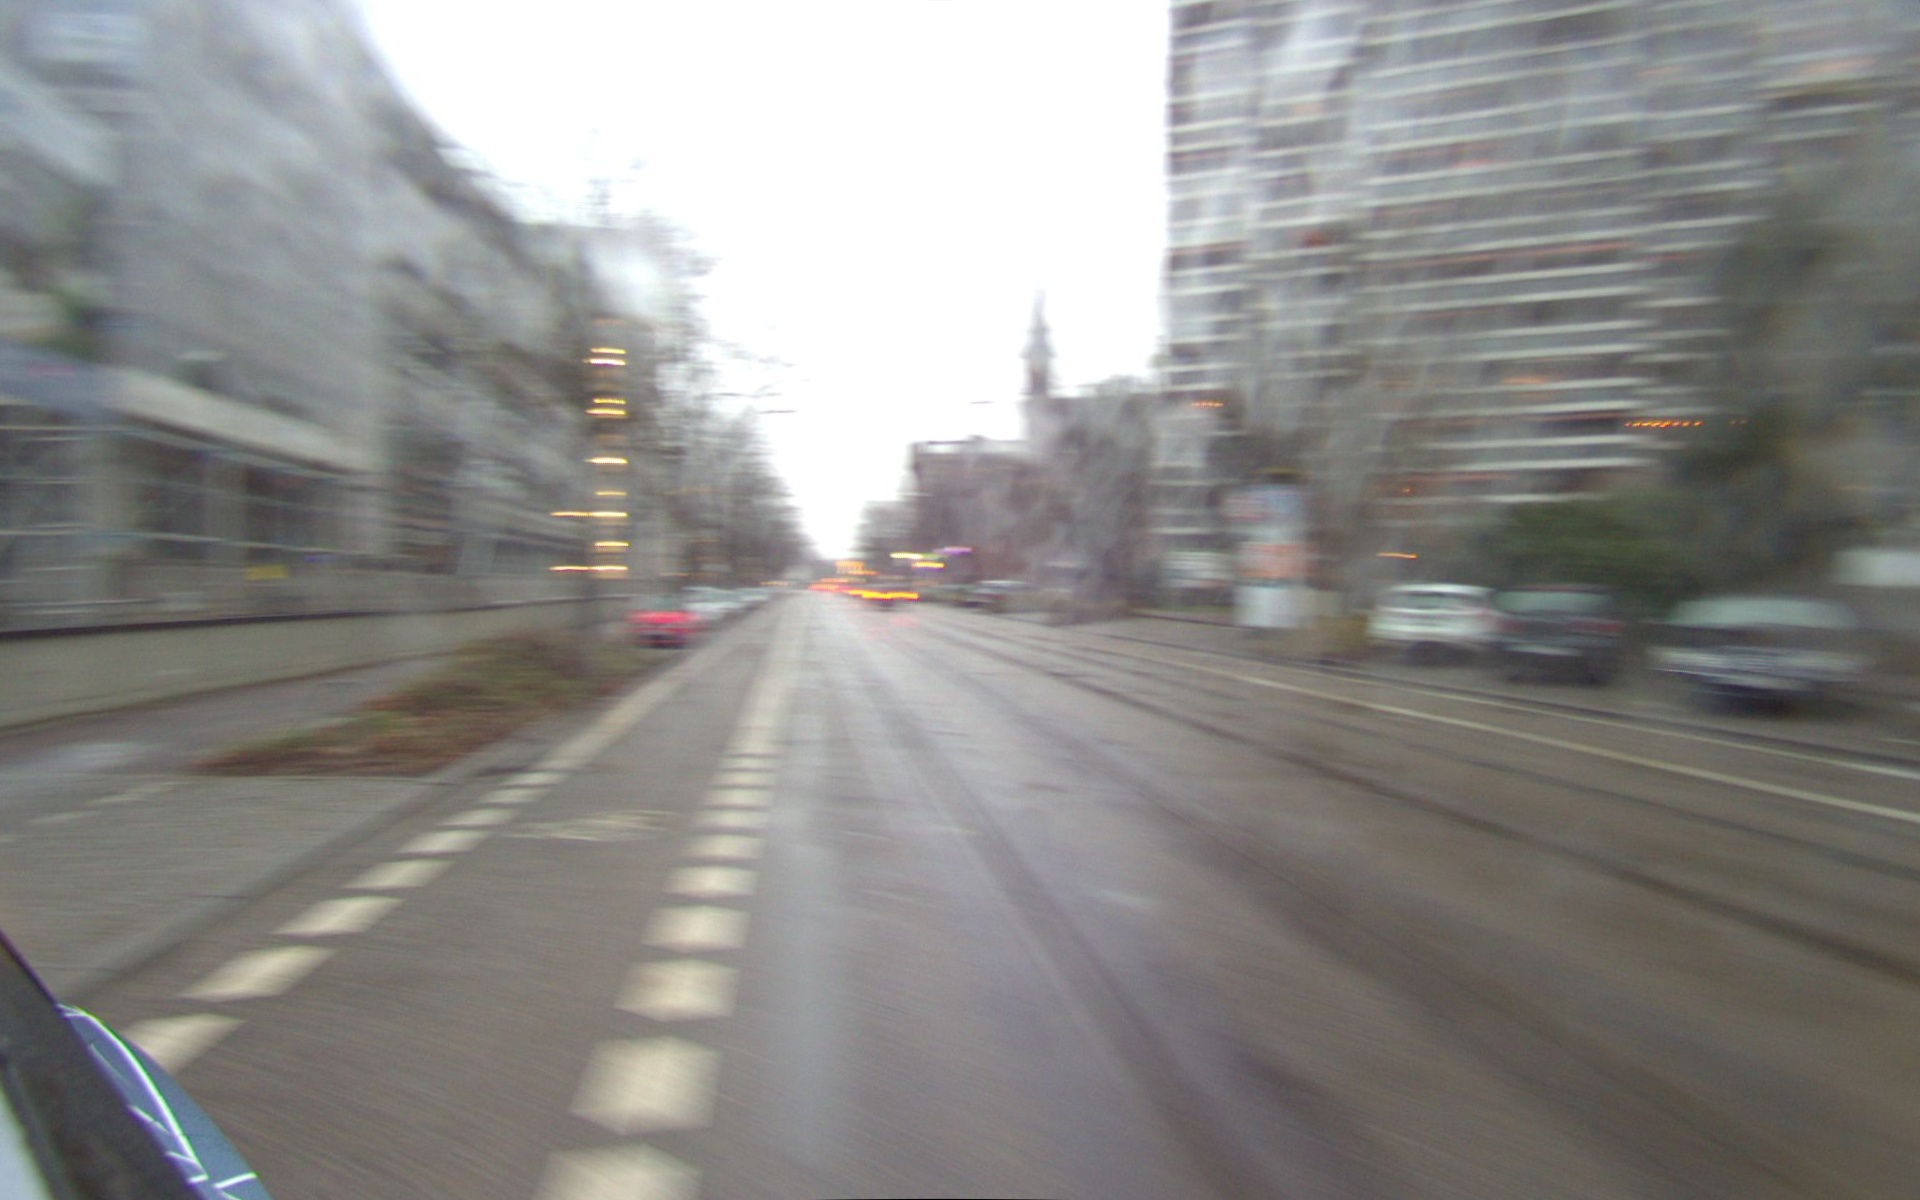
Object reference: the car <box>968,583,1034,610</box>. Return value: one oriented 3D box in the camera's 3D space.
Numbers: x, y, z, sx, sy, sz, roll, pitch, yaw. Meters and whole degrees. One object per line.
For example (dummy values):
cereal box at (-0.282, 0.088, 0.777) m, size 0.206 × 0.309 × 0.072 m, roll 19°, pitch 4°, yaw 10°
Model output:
car at (2.501, -0.218, 63.050) m, size 3.941 × 1.652 × 2.001 m, roll 0°, pitch 0°, yaw -2°

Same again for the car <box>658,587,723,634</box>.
car at (-9.566, 0.357, 36.154) m, size 1.727 × 1.596 × 3.742 m, roll 0°, pitch 0°, yaw -7°

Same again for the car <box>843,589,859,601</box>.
car at (-13.512, -0.647, 125.358) m, size 1.739 × 1.421 × 4.007 m, roll 0°, pitch 0°, yaw -8°

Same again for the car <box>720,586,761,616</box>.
car at (-12.147, 0.071, 56.107) m, size 1.839 × 1.606 × 4.006 m, roll 0°, pitch 0°, yaw -7°

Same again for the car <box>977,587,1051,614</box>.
car at (2.997, 0.040, 56.320) m, size 3.941 × 1.497 × 1.673 m, roll 0°, pitch 0°, yaw -2°

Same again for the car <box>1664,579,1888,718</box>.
car at (9.863, 0.496, 12.303) m, size 1.854 × 1.389 × 3.947 m, roll 0°, pitch 0°, yaw 39°

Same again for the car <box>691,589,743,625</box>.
car at (-11.187, 0.315, 46.800) m, size 1.839 × 1.606 × 4.006 m, roll 0°, pitch 0°, yaw -7°

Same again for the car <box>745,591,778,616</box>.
car at (-13.113, 0.235, 66.999) m, size 1.839 × 1.606 × 4.006 m, roll 0°, pitch 0°, yaw -7°

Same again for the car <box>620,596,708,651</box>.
car at (-7.932, 0.597, 27.413) m, size 1.727 × 1.397 × 3.742 m, roll 0°, pitch 0°, yaw -7°

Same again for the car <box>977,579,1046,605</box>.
car at (3.057, -0.455, 60.270) m, size 3.941 × 1.497 × 1.673 m, roll 0°, pitch 0°, yaw -2°

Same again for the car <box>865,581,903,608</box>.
car at (-4.582, -0.302, 60.714) m, size 1.724 × 1.556 × 4.305 m, roll 0°, pitch 0°, yaw -11°

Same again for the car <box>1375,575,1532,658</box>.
car at (9.511, 0.287, 19.350) m, size 1.854 × 1.410 × 3.947 m, roll 0°, pitch 0°, yaw 39°

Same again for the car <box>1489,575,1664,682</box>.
car at (9.854, 0.395, 16.037) m, size 1.854 × 1.473 × 3.947 m, roll 0°, pitch 0°, yaw 39°

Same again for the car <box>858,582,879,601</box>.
car at (-7.848, -0.676, 86.785) m, size 1.685 × 1.591 × 4.386 m, roll 0°, pitch 0°, yaw -7°
